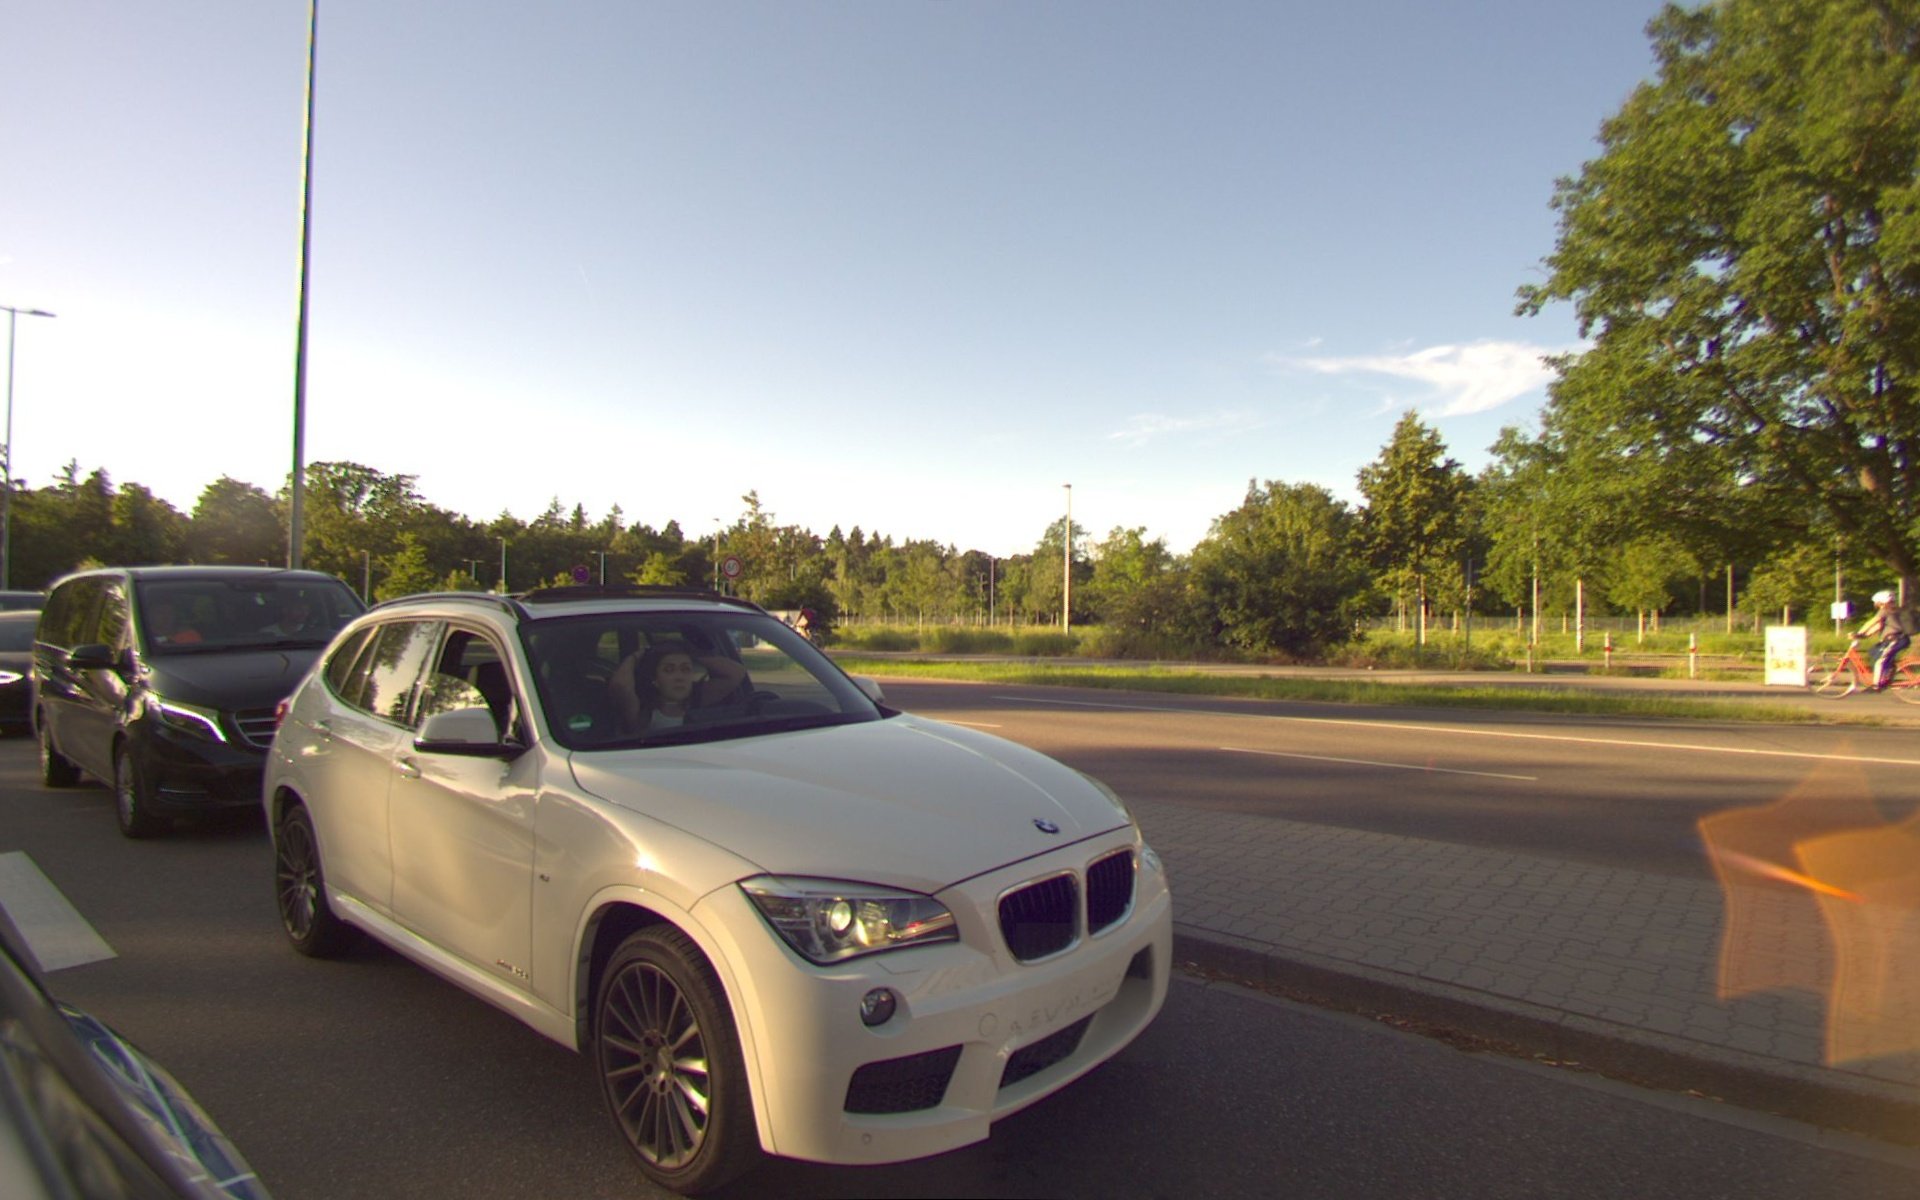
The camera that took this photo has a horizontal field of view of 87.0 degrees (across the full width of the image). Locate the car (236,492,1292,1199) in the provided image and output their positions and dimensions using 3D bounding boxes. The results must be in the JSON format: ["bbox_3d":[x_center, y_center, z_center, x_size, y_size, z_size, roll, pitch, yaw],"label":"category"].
[{"bbox_3d":[-1.161,0.635,3.943,4.319,1.595,1.774,-1,-1,41],"label":"car"}]

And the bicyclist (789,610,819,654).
[{"bbox_3d":[-5.154,1.048,33.454,0.800,1.424,0.585,-1,0,43],"label":"bicyclist"}]

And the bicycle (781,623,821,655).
[{"bbox_3d":[-5.281,1.275,33.603,1.361,1.027,0.576,-1,0,42],"label":"bicycle"}]

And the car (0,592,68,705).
[{"bbox_3d":[-18.249,0.865,18.754,5.064,1.907,1.843,-1,0,40],"label":"car"}]

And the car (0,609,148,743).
[{"bbox_3d":[-12.586,0.934,13.721,4.100,1.581,1.714,-1,-1,40],"label":"car"}]

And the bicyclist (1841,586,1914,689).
[{"bbox_3d":[14.923,0.591,16.459,0.672,1.623,0.801,-1,0,-42],"label":"bicyclist"}]

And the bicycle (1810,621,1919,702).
[{"bbox_3d":[14.977,0.980,16.389,0.487,1.247,1.797,-1,0,-42],"label":"bicycle"}]

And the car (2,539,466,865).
[{"bbox_3d":[-6.148,0.630,8.264,5.230,1.887,1.861,-1,-1,40],"label":"car"}]
